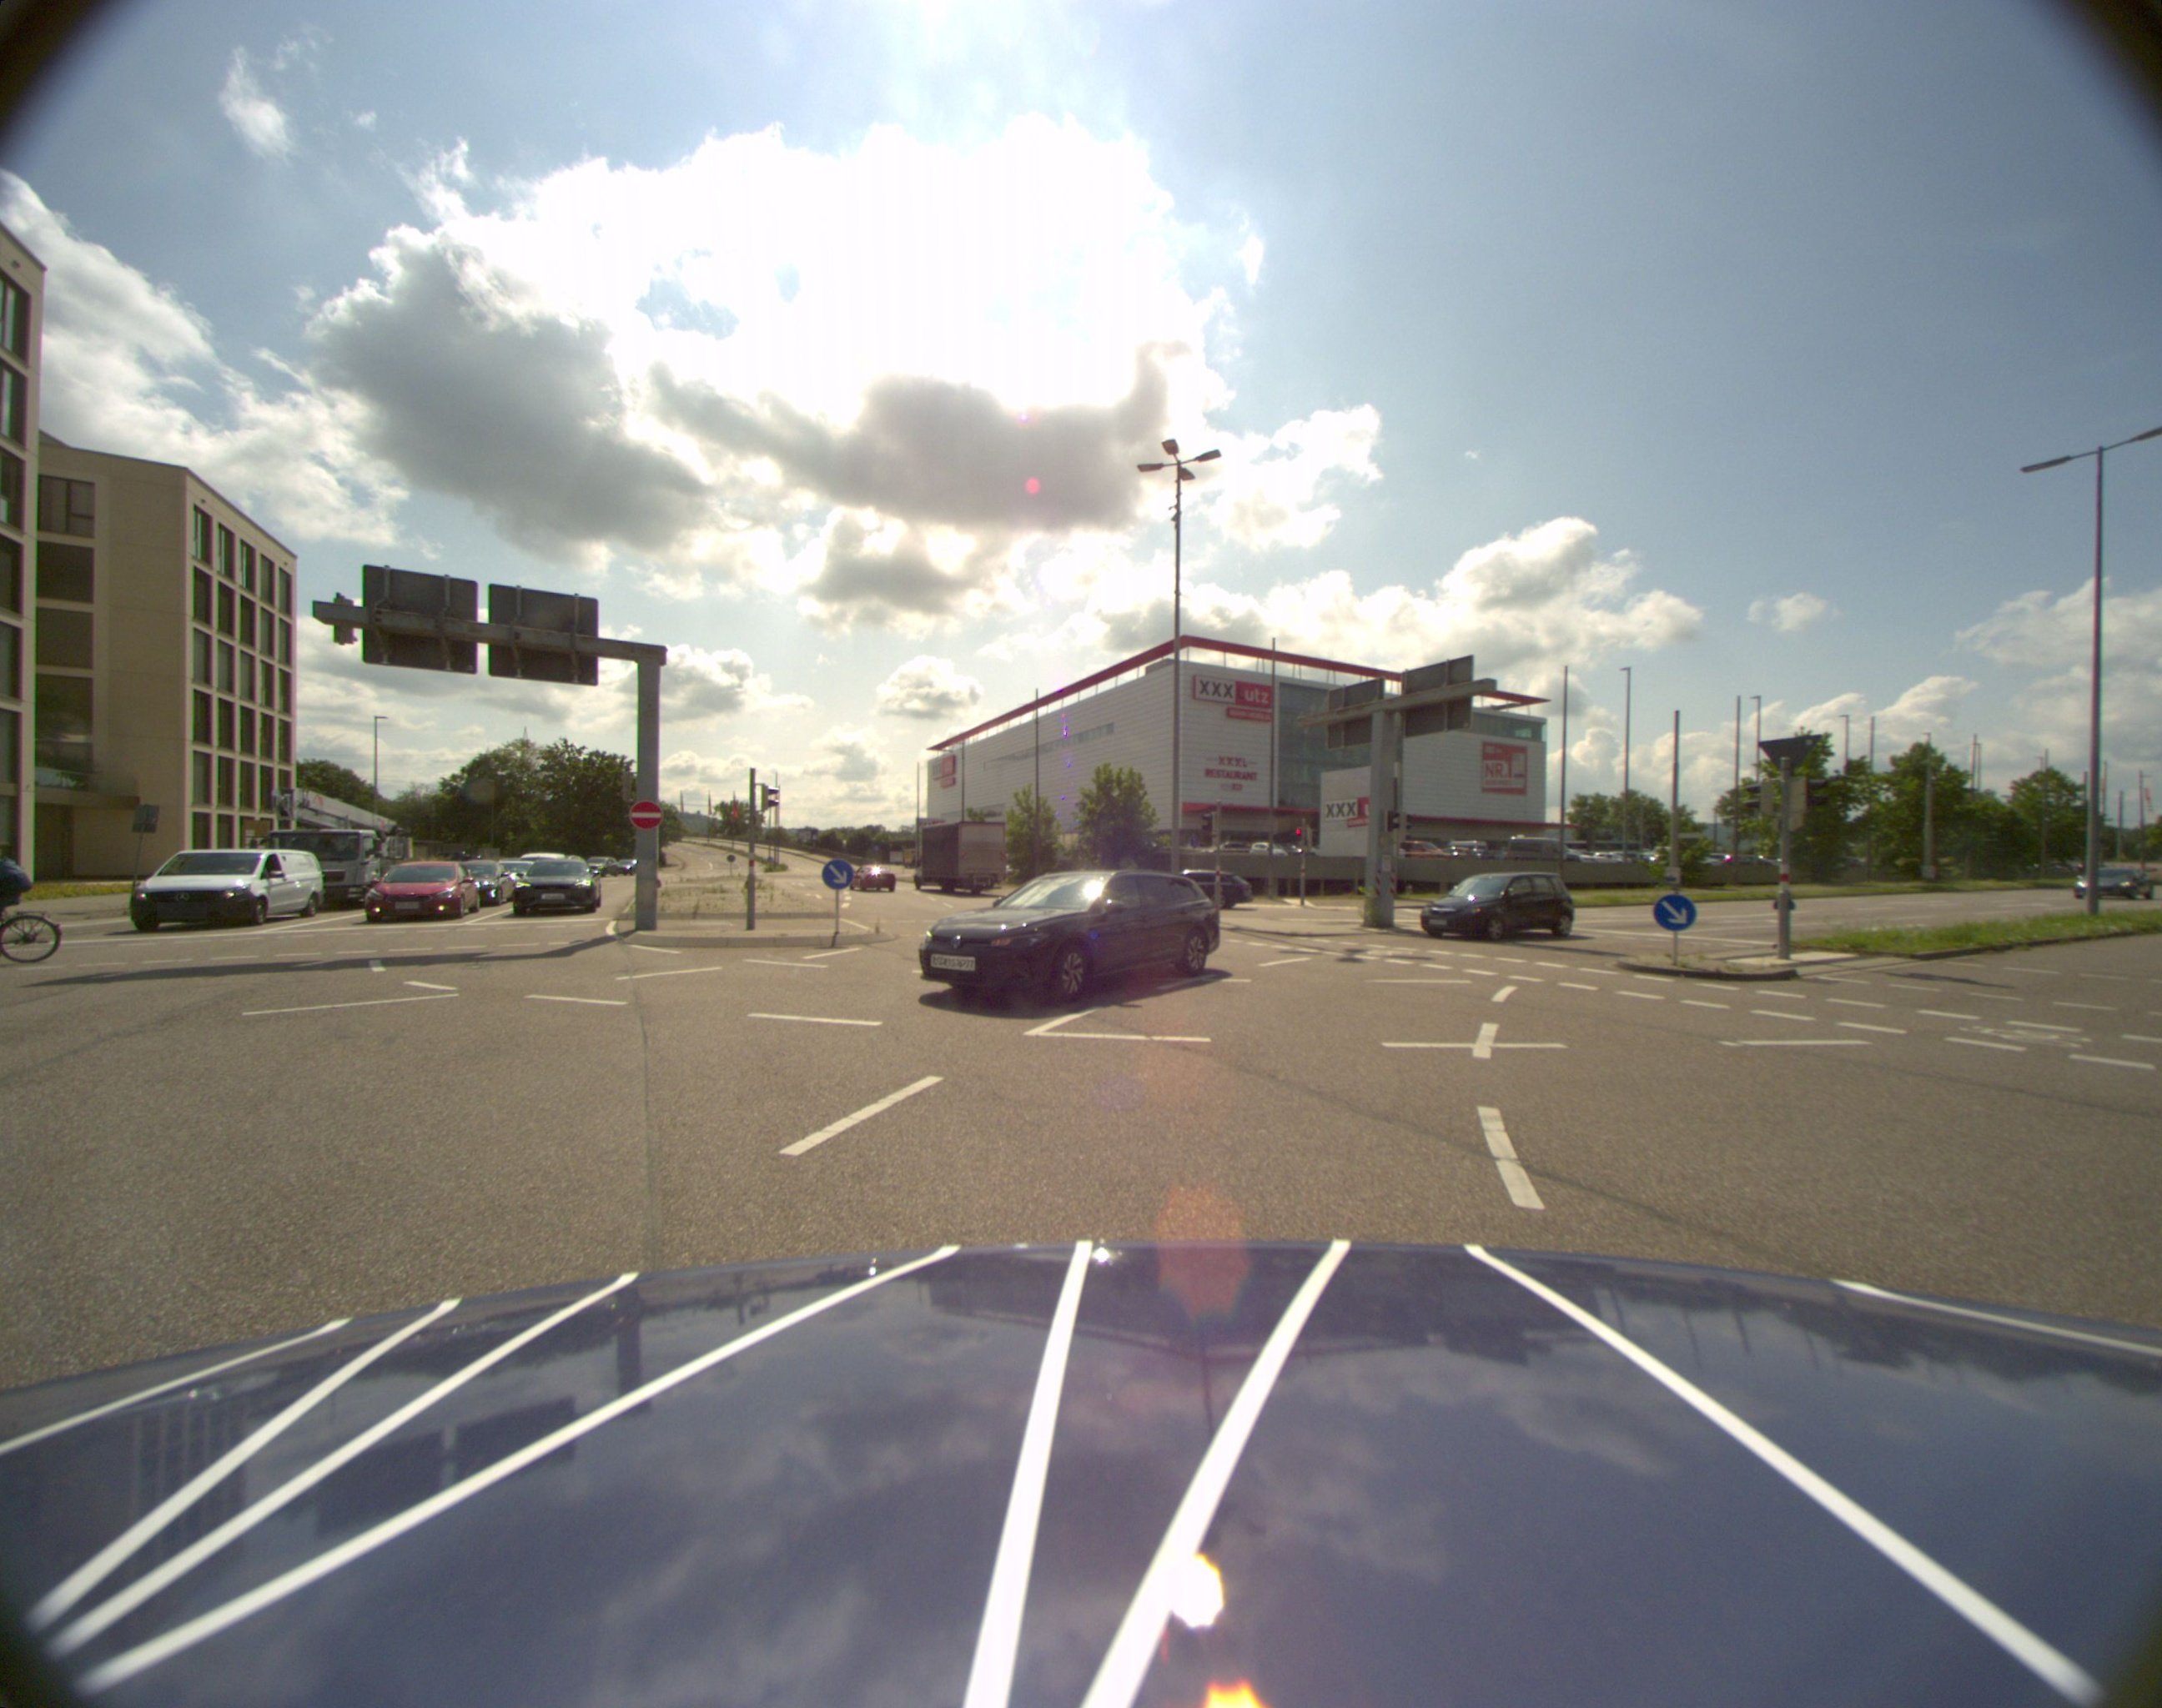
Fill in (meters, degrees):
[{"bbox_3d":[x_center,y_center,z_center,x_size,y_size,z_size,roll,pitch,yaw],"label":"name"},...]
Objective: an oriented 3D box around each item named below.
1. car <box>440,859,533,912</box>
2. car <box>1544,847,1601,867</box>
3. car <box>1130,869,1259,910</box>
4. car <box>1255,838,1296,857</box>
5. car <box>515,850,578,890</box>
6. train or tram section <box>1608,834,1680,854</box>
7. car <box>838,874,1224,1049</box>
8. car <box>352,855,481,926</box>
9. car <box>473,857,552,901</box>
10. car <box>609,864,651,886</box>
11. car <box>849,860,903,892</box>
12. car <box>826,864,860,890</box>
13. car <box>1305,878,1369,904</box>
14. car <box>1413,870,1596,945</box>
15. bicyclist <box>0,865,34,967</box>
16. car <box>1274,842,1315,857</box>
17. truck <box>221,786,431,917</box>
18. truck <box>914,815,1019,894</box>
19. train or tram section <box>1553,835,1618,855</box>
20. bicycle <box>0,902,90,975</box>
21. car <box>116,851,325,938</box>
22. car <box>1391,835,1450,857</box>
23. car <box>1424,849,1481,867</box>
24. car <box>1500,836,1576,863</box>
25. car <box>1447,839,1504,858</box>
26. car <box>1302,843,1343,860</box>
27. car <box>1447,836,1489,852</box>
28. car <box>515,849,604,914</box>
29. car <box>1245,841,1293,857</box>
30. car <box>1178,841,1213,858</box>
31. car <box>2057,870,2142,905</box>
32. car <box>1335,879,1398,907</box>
[{"bbox_3d":[-19.921,1.022,25.636,1.831,1.617,4.202,-1,-1,-30],"label":"car"},{"bbox_3d":[44.479,0.304,68.860,1.751,1.783,3.993,-1,-1,-24],"label":"car"},{"bbox_3d":[4.404,1.341,29.647,4.667,1.469,1.783,-1,0,24],"label":"car"},{"bbox_3d":[19.960,-0.660,78.138,1.919,1.739,3.992,-1,-1,-26],"label":"car"},{"bbox_3d":[-26.211,0.785,37.393,1.830,1.827,4.437,-1,-1,-26],"label":"car"},{"bbox_3d":[130.832,-2.348,176.818,3.737,4.346,13.075,-1,1,-27],"label":"train or tram section"},{"bbox_3d":[-0.231,1.031,9.436,1.809,1.469,5.215,-1,0,37],"label":"car"},{"bbox_3d":[-17.189,0.895,19.865,1.831,1.617,4.202,-1,-1,-31],"label":"car"},{"bbox_3d":[-22.803,0.976,30.632,1.831,1.617,4.203,-1,-1,-27],"label":"car"},{"bbox_3d":[-38.837,1.785,65.546,1.829,1.827,4.441,-1,-1,-13],"label":"car"},{"bbox_3d":[-11.416,1.203,42.092,1.868,1.645,4.209,-1,-1,-30],"label":"car"},{"bbox_3d":[-17.572,1.736,55.927,1.867,1.644,4.214,0,-5,-24],"label":"car"},{"bbox_3d":[18.736,2.685,55.681,4.370,1.739,1.996,0,0,-28],"label":"car"},{"bbox_3d":[9.996,1.184,17.892,4.275,1.521,1.604,0,0,-26],"label":"car"},{"bbox_3d":[-16.060,0.902,10.958,0.916,1.468,0.637,-1,0,-22],"label":"bicyclist"},{"bbox_3d":[22.121,-0.480,78.885,1.562,1.462,4.413,0,0,-28],"label":"car"},{"bbox_3d":[-24.473,0.022,25.305,2.679,3.533,9.761,-1,-1,-31],"label":"truck"},{"bbox_3d":[-6.680,0.103,42.809,3.227,4.003,9.052,-1,-1,-26],"label":"truck"},{"bbox_3d":[124.923,-2.264,188.476,3.737,4.533,13.080,-1,-1,-27],"label":"train or tram section"},{"bbox_3d":[-15.993,1.243,10.976,1.980,1.006,0.648,-1,0,-21],"label":"bicycle"},{"bbox_3d":[-20.872,0.913,18.750,2.003,1.827,4.981,-1,-1,-31],"label":"car"},{"bbox_3d":[29.234,-0.675,65.473,1.920,1.739,4.178,-1,-1,-38],"label":"car"},{"bbox_3d":[33.424,0.395,68.483,1.957,1.596,4.414,0,0,-26],"label":"car"},{"bbox_3d":[40.864,-0.334,68.132,1.752,2.269,5.787,-1,-1,-28],"label":"car"},{"bbox_3d":[36.309,-0.476,70.103,1.957,1.596,4.415,0,0,-24],"label":"car"},{"bbox_3d":[26.070,-0.239,82.062,1.919,1.739,3.992,-1,-1,-26],"label":"car"},{"bbox_3d":[45.897,-1.181,90.207,1.919,1.739,3.992,-1,-1,-26],"label":"car"},{"bbox_3d":[-14.670,0.741,21.549,1.831,1.617,4.202,-1,-1,-31],"label":"car"},{"bbox_3d":[17.831,-0.475,72.189,1.958,1.462,4.413,0,0,-28],"label":"car"},{"bbox_3d":[13.043,-0.481,86.927,1.562,1.813,4.413,0,0,-28],"label":"car"},{"bbox_3d":[48.118,1.555,35.881,4.275,1.521,1.604,0,0,-26],"label":"car"},{"bbox_3d":[19.825,2.670,52.729,4.006,1.739,1.996,0,0,-28],"label":"car"}]
